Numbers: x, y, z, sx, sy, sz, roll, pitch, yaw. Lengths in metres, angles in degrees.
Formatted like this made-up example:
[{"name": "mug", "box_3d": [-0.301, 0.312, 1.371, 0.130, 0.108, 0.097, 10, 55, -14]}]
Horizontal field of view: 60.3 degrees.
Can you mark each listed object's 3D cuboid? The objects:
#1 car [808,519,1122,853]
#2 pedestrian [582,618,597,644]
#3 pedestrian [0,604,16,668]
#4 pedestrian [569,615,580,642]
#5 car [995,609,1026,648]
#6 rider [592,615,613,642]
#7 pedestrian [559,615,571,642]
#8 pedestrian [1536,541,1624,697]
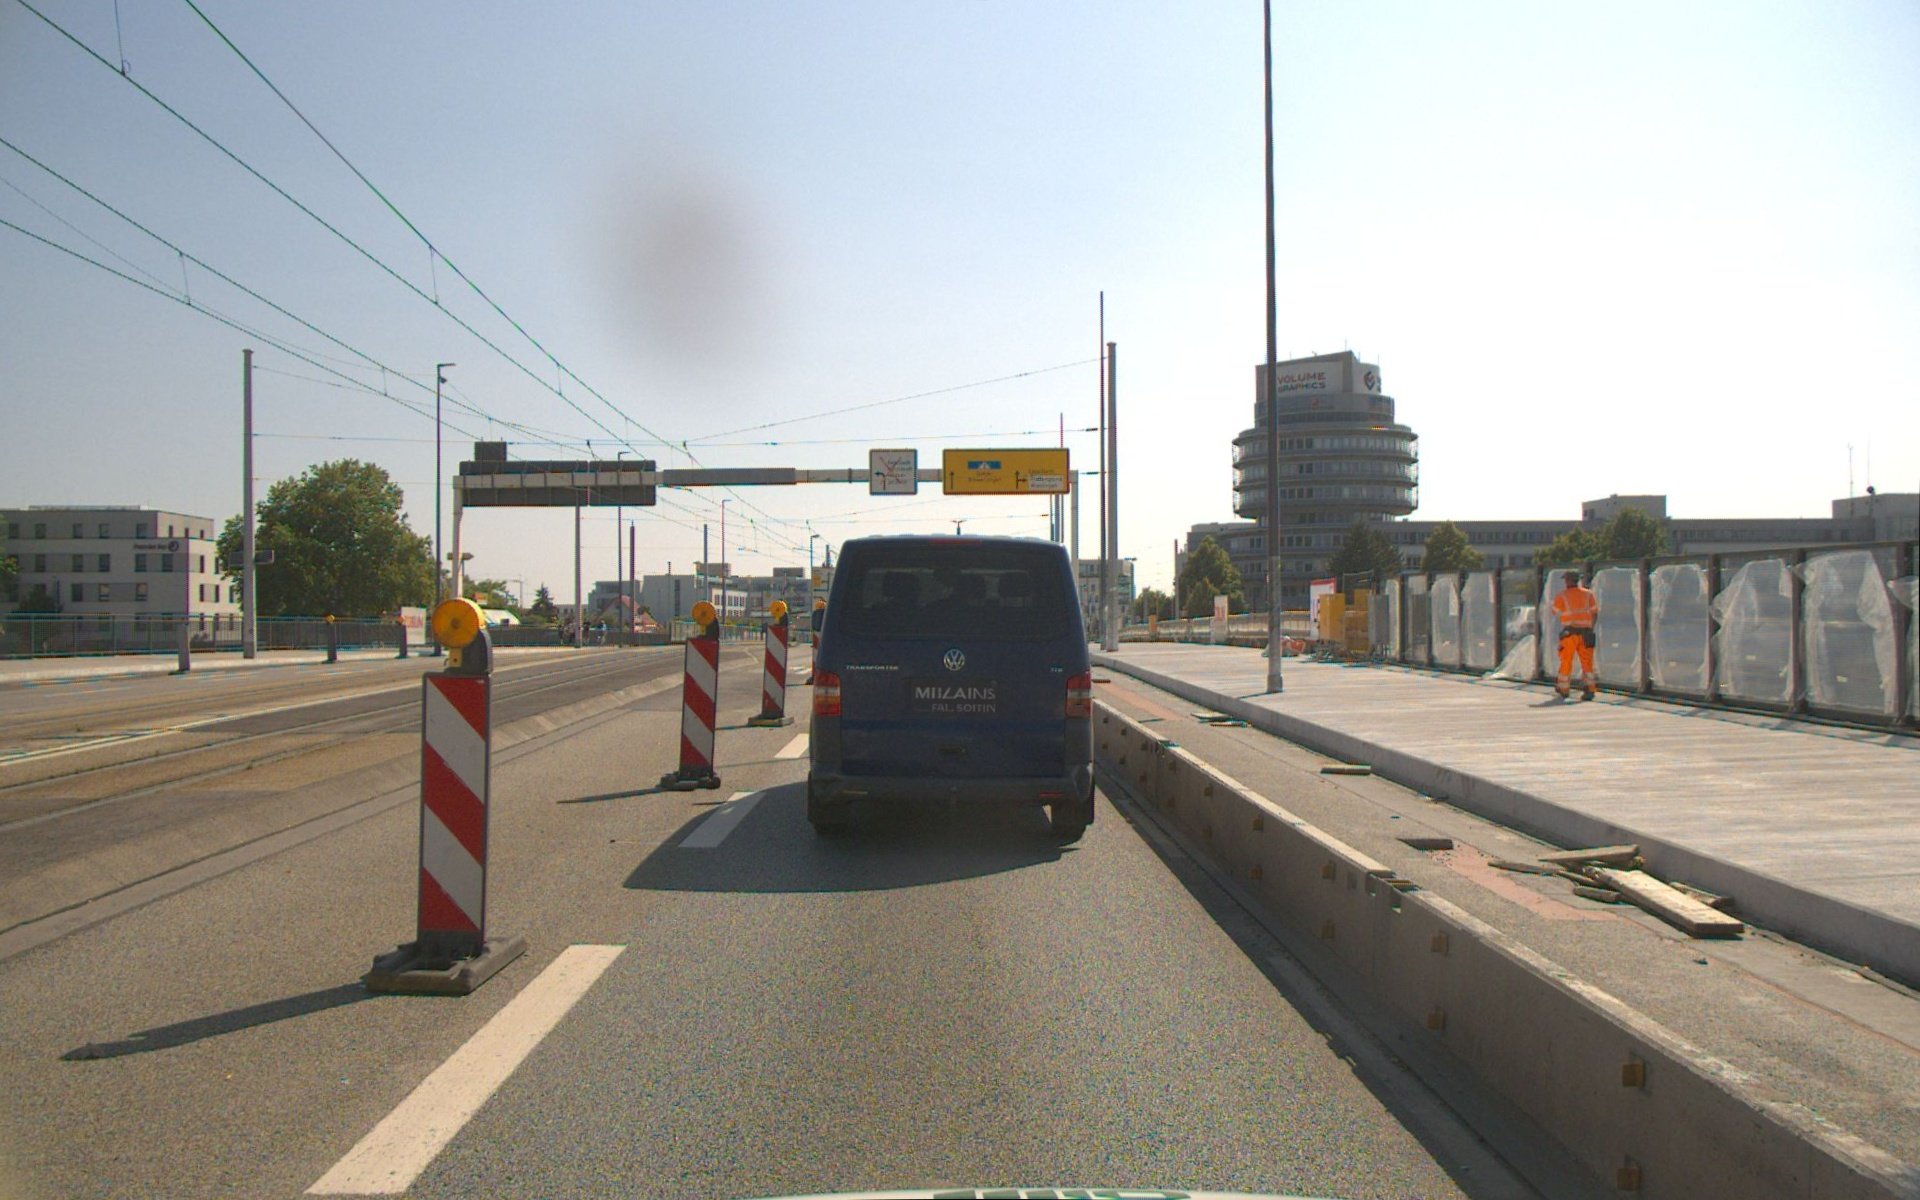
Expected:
[{"name": "car", "box_3d": [0.006, 0.547, 11.944, 1.849, 1.968, 3.999, 1, -1, -1]}, {"name": "pedestrian", "box_3d": [-24.501, 2.065, 109.363, 0.737, 1.717, 0.732, -1, -1, 3]}, {"name": "pedestrian", "box_3d": [-25.610, 0.938, 43.738, 0.728, 1.670, 0.895, 2, -1, -1]}, {"name": "pedestrian", "box_3d": [-24.825, 1.854, 106.402, 0.476, 1.717, 0.808, -1, -1, 3]}, {"name": "car", "box_3d": [3.978, 2.237, 131.527, 2.290, 2.938, 5.970, 1, -1, 1]}, {"name": "rider", "box_3d": [-23.163, 1.836, 107.129, 0.748, 1.763, 2.950, 1, -1, -1]}, {"name": "pedestrian", "box_3d": [-25.336, 1.843, 106.077, 0.585, 1.717, 0.818, -1, -1, 3]}, {"name": "pedestrian", "box_3d": [8.212, 0.246, 21.946, 0.716, 1.999, 1.016, -2, -1, 0]}]
